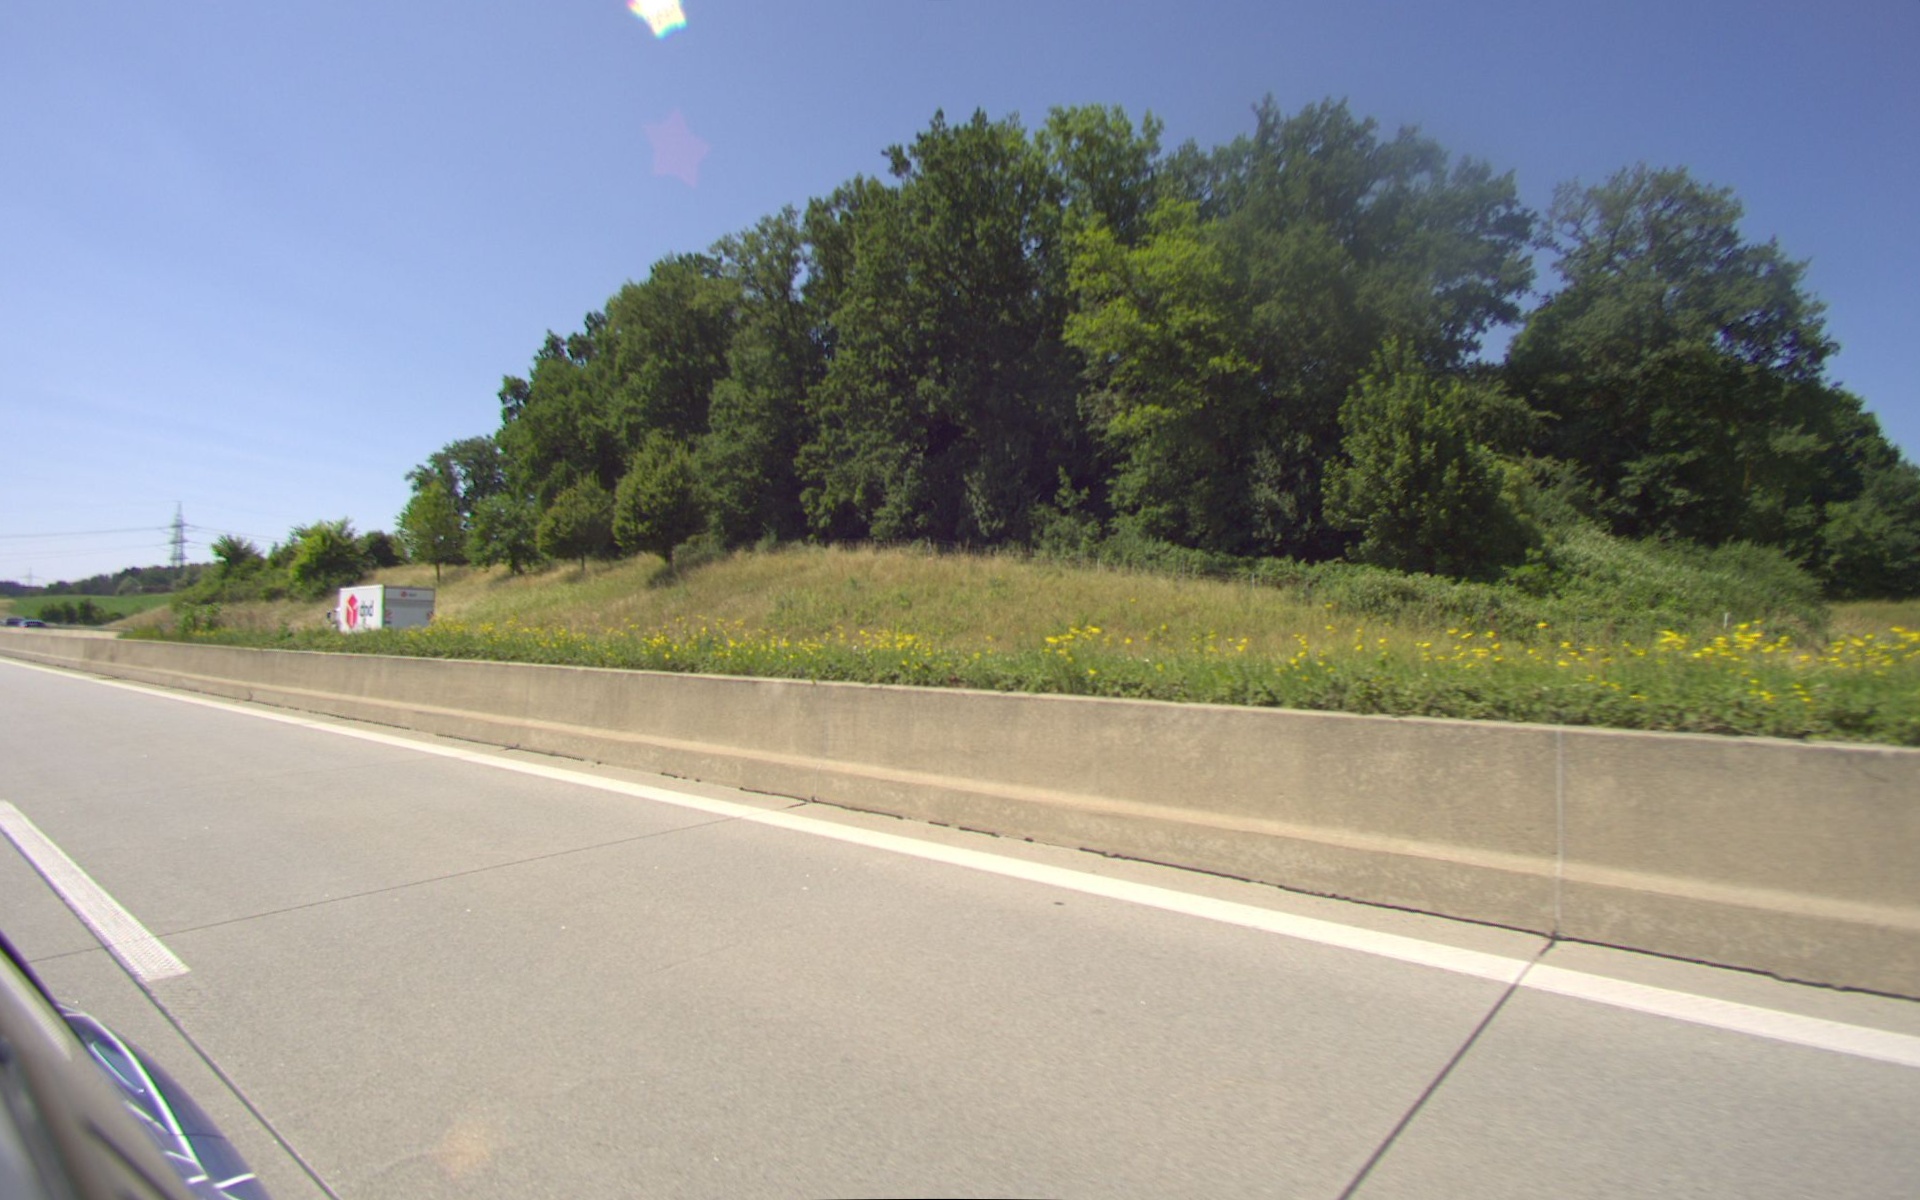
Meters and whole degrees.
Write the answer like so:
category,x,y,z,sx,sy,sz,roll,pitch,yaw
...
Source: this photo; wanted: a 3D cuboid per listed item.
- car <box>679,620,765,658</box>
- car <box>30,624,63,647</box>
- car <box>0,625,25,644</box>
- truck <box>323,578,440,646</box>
category,x,y,z,sx,sy,sz,roll,pitch,yaw
car,-9.720,1.571,41.277,3.625,1.411,1.482,-2,2,40
car,-69.921,2.708,77.444,3.150,1.654,1.506,-1,0,41
car,-87.905,3.196,93.807,3.150,1.669,1.506,-1,0,41
truck,-31.069,0.670,54.210,8.256,3.378,2.864,-1,-2,41
